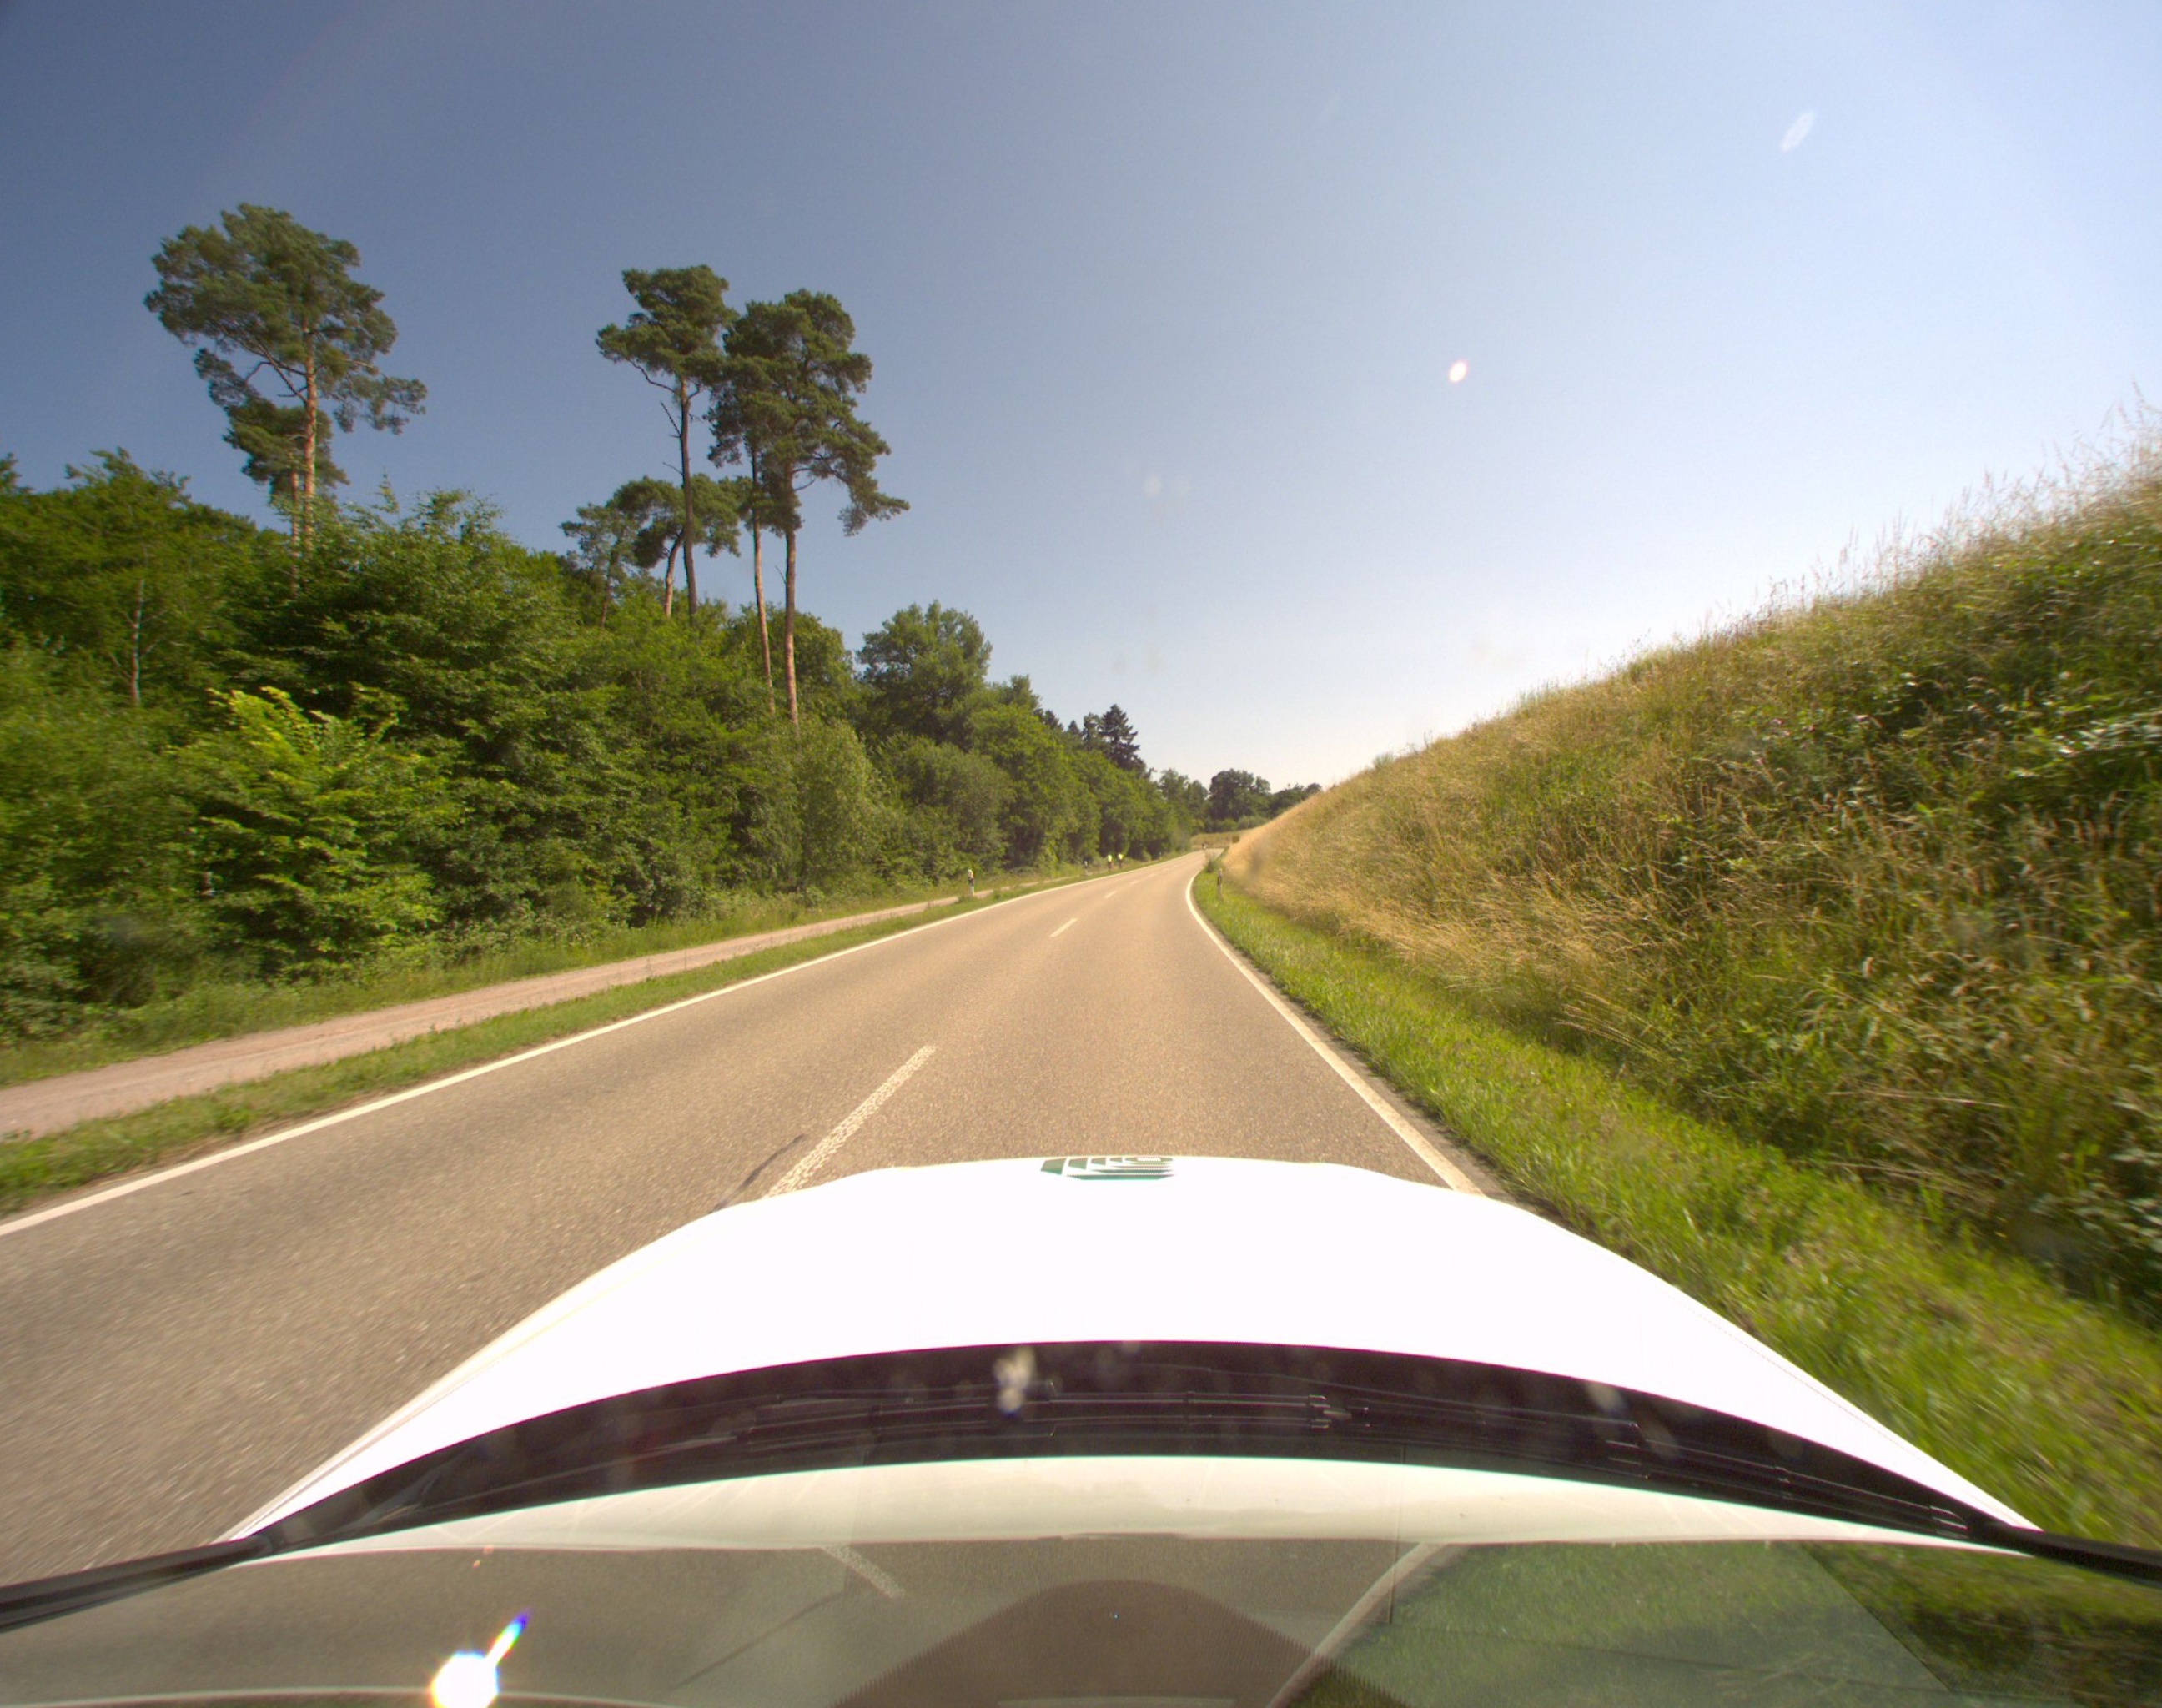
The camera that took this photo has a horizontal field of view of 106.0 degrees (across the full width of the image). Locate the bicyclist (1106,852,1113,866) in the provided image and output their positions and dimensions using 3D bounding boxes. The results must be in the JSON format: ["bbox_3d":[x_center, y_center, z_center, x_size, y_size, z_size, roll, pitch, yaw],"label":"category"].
[{"bbox_3d":[2.866,0.555,82.952,0.601,1.415,0.704,-1,-2,10],"label":"bicyclist"}]

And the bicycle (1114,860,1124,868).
[{"bbox_3d":[3.882,1.002,82.745,0.636,0.788,2.143,-3,0,11],"label":"bicycle"}]

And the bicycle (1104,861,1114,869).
[{"bbox_3d":[2.871,1.114,82.925,0.615,0.681,2.143,-3,0,11],"label":"bicycle"}]

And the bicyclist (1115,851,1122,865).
[{"bbox_3d":[3.833,0.384,82.772,0.601,1.415,0.705,-3,0,10],"label":"bicyclist"}]
